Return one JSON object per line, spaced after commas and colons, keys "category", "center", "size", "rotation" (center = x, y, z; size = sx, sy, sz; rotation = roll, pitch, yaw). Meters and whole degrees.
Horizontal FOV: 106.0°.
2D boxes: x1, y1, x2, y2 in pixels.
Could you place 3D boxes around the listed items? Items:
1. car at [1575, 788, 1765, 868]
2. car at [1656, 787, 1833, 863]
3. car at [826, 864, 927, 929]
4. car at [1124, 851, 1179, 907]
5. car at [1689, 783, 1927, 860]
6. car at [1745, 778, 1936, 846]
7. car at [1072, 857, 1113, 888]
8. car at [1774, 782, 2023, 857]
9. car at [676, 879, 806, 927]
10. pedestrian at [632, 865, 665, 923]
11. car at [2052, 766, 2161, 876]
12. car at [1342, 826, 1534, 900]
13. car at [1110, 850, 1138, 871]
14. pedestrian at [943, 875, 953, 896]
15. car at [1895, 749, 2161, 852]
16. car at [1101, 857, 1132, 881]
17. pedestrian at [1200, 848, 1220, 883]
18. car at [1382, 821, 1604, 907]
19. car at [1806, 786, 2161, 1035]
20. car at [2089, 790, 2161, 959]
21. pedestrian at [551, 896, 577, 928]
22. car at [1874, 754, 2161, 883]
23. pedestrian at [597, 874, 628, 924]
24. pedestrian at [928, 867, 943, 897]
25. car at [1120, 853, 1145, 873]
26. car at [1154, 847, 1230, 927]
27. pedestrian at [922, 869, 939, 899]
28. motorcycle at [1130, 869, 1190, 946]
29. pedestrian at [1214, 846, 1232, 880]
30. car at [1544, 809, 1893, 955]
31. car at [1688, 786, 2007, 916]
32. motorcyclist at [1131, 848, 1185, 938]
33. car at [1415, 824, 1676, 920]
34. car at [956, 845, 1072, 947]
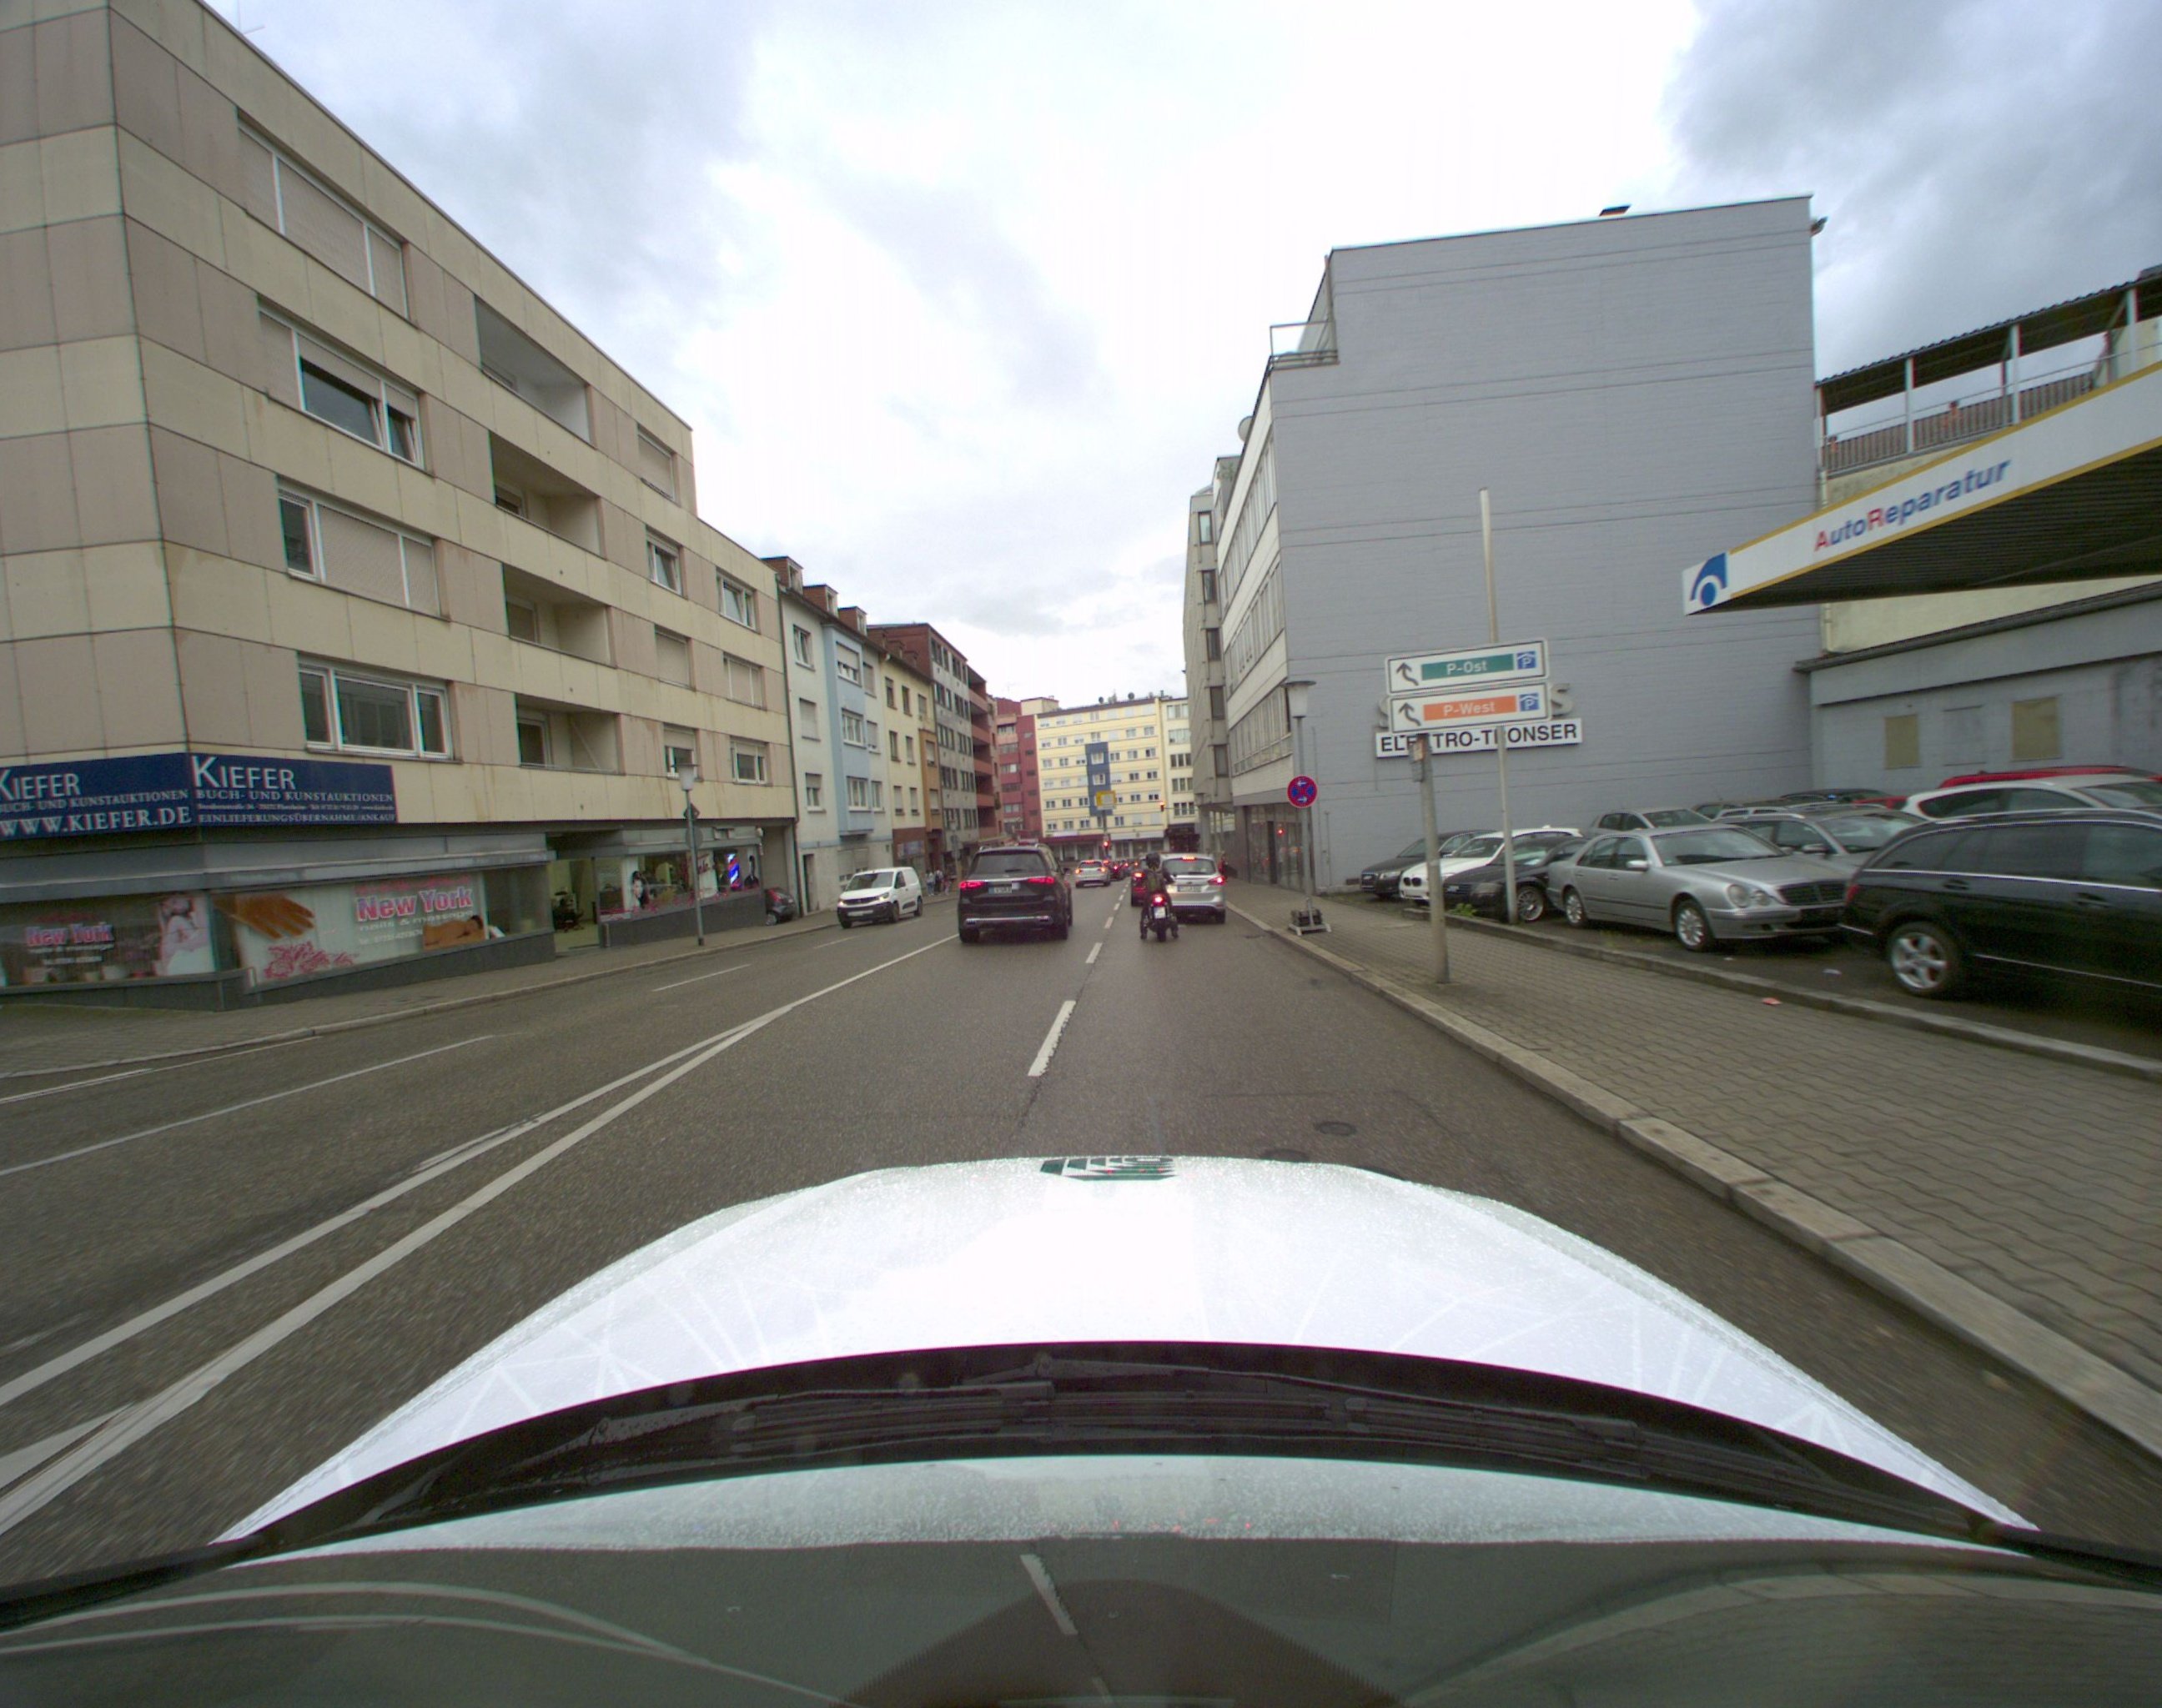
{"category": "car", "center": [13.723, -0.525, 19.286], "size": [1.639, 1.597, 3.865], "rotation": [-2, -1, 0]}
{"category": "car", "center": [15.924, -0.631, 19.771], "size": [1.445, 1.597, 3.391], "rotation": [-2, -1, 0]}
{"category": "car", "center": [-6.663, 1.332, 27.059], "size": [1.862, 1.753, 4.403], "rotation": [-6, 0, 3]}
{"category": "car", "center": [2.176, 0.741, 25.721], "size": [1.516, 1.548, 3.109], "rotation": [-3, 0, 2]}
{"category": "car", "center": [13.606, -0.541, 15.513], "size": [1.445, 1.202, 3.391], "rotation": [-2, -1, 0]}
{"category": "car", "center": [18.220, -0.949, 19.748], "size": [1.447, 1.354, 3.352], "rotation": [-2, -1, 0]}
{"category": "car", "center": [0.690, 0.967, 44.820], "size": [1.876, 1.502, 4.406], "rotation": [-2, 0, 5]}
{"category": "car", "center": [15.844, -0.597, 16.049], "size": [1.445, 1.202, 3.391], "rotation": [-2, -1, 0]}
{"category": "car", "center": [-12.481, 1.784, 30.051], "size": [3.971, 1.499, 1.800], "rotation": [-3, -1, 2]}
{"category": "pedestrian", "center": [-13.805, 1.269, 25.999], "size": [0.597, 1.729, 0.572], "rotation": [-3, 4, 1]}
{"category": "car", "center": [15.601, -0.487, 10.714], "size": [1.444, 1.512, 3.521], "rotation": [-2, -1, 1]}
{"category": "car", "center": [8.660, 0.210, 19.866], "size": [3.993, 1.597, 1.790], "rotation": [-2, -2, -15]}
{"category": "car", "center": [3.381, 0.457, 63.090], "size": [1.876, 1.502, 4.406], "rotation": [-2, 0, 5]}
{"category": "pedestrian", "center": [-7.951, 1.865, 48.791], "size": [0.424, 1.162, 0.587], "rotation": [-3, 4, 2]}
{"category": "car", "center": [17.836, -0.915, 15.378], "size": [1.445, 1.597, 3.391], "rotation": [-2, -1, 0]}
{"category": "car", "center": [2.495, 1.007, 56.013], "size": [1.876, 1.502, 4.406], "rotation": [-2, 0, 5]}
{"category": "pedestrian", "center": [6.154, 0.531, 38.878], "size": [0.766, 1.611, 0.704], "rotation": [-3, 2, 1]}
{"category": "car", "center": [8.686, 0.199, 17.273], "size": [3.993, 1.597, 1.790], "rotation": [-2, -2, -15]}
{"category": "car", "center": [7.327, 0.300, 5.161], "size": [1.787, 1.477, 4.493], "rotation": [-2, 0, 6]}
{"category": "car", "center": [9.979, 0.147, 5.276], "size": [1.786, 1.477, 4.497], "rotation": [-3, 0, 10]}
{"category": "pedestrian", "center": [-17.292, 1.934, 27.236], "size": [0.478, 1.014, 0.449], "rotation": [-3, 4, 2]}
{"category": "car", "center": [13.465, -0.403, 11.266], "size": [1.546, 1.512, 3.521], "rotation": [-2, -1, 1]}
{"category": "pedestrian", "center": [-15.724, 1.499, 27.347], "size": [0.445, 1.562, 0.674], "rotation": [-3, 4, 5]}
{"category": "pedestrian", "center": [-8.691, 1.670, 48.636], "size": [0.669, 1.652, 0.606], "rotation": [-3, 4, 1]}
{"category": "car", "center": [4.368, 0.727, 68.765], "size": [1.876, 1.502, 4.406], "rotation": [-2, 0, 5]}
{"category": "car", "center": [2.536, 0.695, 19.146], "size": [1.410, 1.651, 3.109], "rotation": [-3, 0, 2]}
{"category": "pedestrian", "center": [-8.821, 1.771, 47.744], "size": [0.737, 1.652, 0.606], "rotation": [-3, 4, 1]}
{"category": "motorcycle", "center": [1.403, 0.928, 14.990], "size": [0.864, 1.186, 2.563], "rotation": [-3, 0, 2]}
{"category": "pedestrian", "center": [6.947, 0.419, 39.784], "size": [0.715, 1.611, 0.611], "rotation": [-3, 2, 1]}
{"category": "car", "center": [7.842, 0.289, 10.590], "size": [1.558, 1.477, 4.075], "rotation": [-2, 0, 5]}
{"category": "car", "center": [10.467, 0.004, 11.492], "size": [1.519, 1.512, 3.398], "rotation": [-2, -1, 7]}
{"category": "motorcyclist", "center": [1.401, 0.707, 14.945], "size": [0.863, 1.560, 0.764], "rotation": [-3, -2, 1]}
{"category": "car", "center": [8.338, 0.305, 14.727], "size": [3.993, 1.495, 1.724], "rotation": [-2, -2, -15]}
{"category": "car", "center": [-1.233, 0.744, 16.796], "size": [2.015, 1.739, 4.744], "rotation": [-2, 0, -1]}
